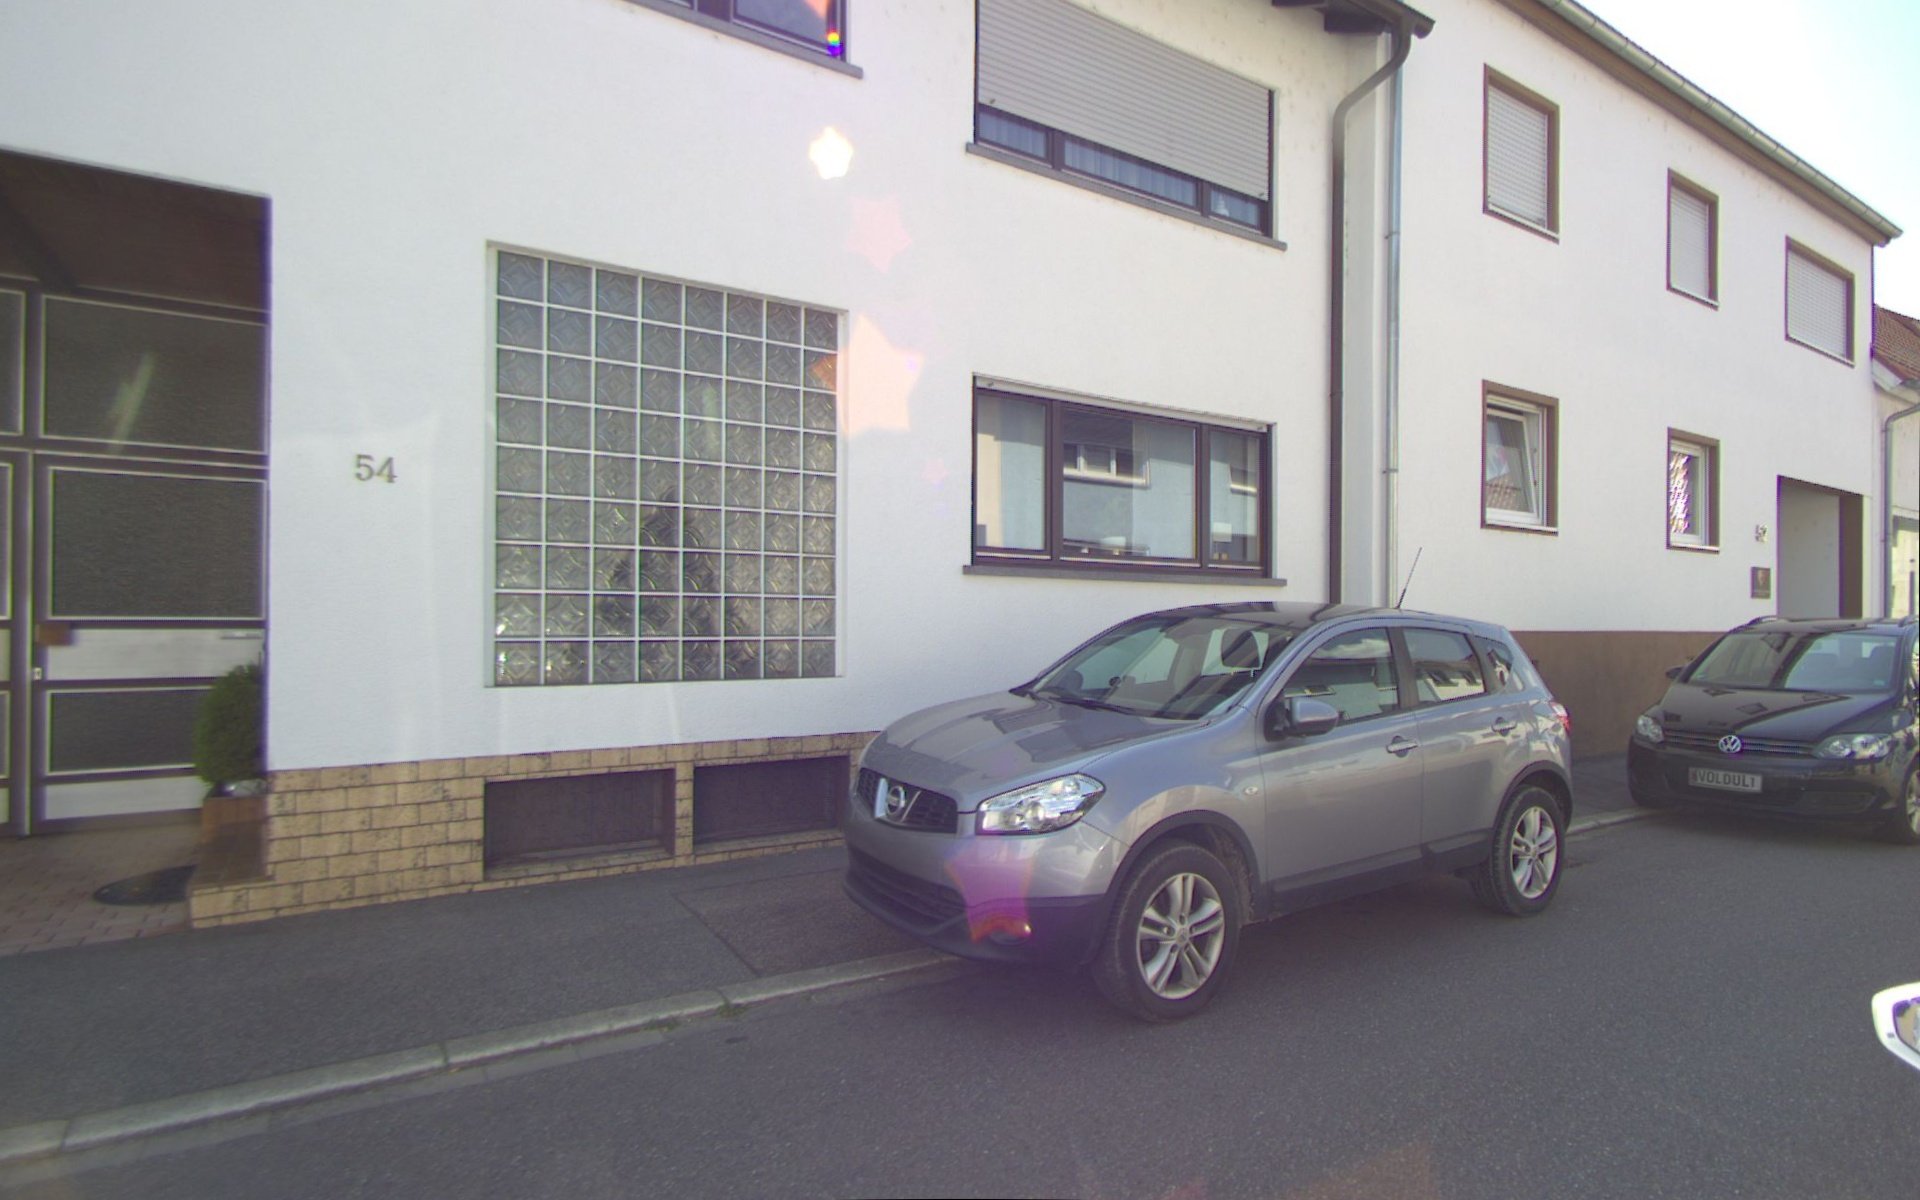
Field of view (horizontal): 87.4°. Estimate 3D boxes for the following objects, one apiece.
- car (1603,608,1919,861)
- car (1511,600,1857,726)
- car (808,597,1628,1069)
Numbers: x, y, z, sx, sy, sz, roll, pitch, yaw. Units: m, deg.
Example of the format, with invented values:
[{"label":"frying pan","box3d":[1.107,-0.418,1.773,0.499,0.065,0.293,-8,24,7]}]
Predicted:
[{"label":"car","box3d":[7.143,0.911,8.275,4.018,1.630,1.643,1,-1,-34]},{"label":"car","box3d":[11.574,0.925,16.374,1.860,1.772,4.217,1,-1,-32]},{"label":"car","box3d":[1.518,0.810,5.207,4.243,1.545,1.748,1,-1,-34]}]
